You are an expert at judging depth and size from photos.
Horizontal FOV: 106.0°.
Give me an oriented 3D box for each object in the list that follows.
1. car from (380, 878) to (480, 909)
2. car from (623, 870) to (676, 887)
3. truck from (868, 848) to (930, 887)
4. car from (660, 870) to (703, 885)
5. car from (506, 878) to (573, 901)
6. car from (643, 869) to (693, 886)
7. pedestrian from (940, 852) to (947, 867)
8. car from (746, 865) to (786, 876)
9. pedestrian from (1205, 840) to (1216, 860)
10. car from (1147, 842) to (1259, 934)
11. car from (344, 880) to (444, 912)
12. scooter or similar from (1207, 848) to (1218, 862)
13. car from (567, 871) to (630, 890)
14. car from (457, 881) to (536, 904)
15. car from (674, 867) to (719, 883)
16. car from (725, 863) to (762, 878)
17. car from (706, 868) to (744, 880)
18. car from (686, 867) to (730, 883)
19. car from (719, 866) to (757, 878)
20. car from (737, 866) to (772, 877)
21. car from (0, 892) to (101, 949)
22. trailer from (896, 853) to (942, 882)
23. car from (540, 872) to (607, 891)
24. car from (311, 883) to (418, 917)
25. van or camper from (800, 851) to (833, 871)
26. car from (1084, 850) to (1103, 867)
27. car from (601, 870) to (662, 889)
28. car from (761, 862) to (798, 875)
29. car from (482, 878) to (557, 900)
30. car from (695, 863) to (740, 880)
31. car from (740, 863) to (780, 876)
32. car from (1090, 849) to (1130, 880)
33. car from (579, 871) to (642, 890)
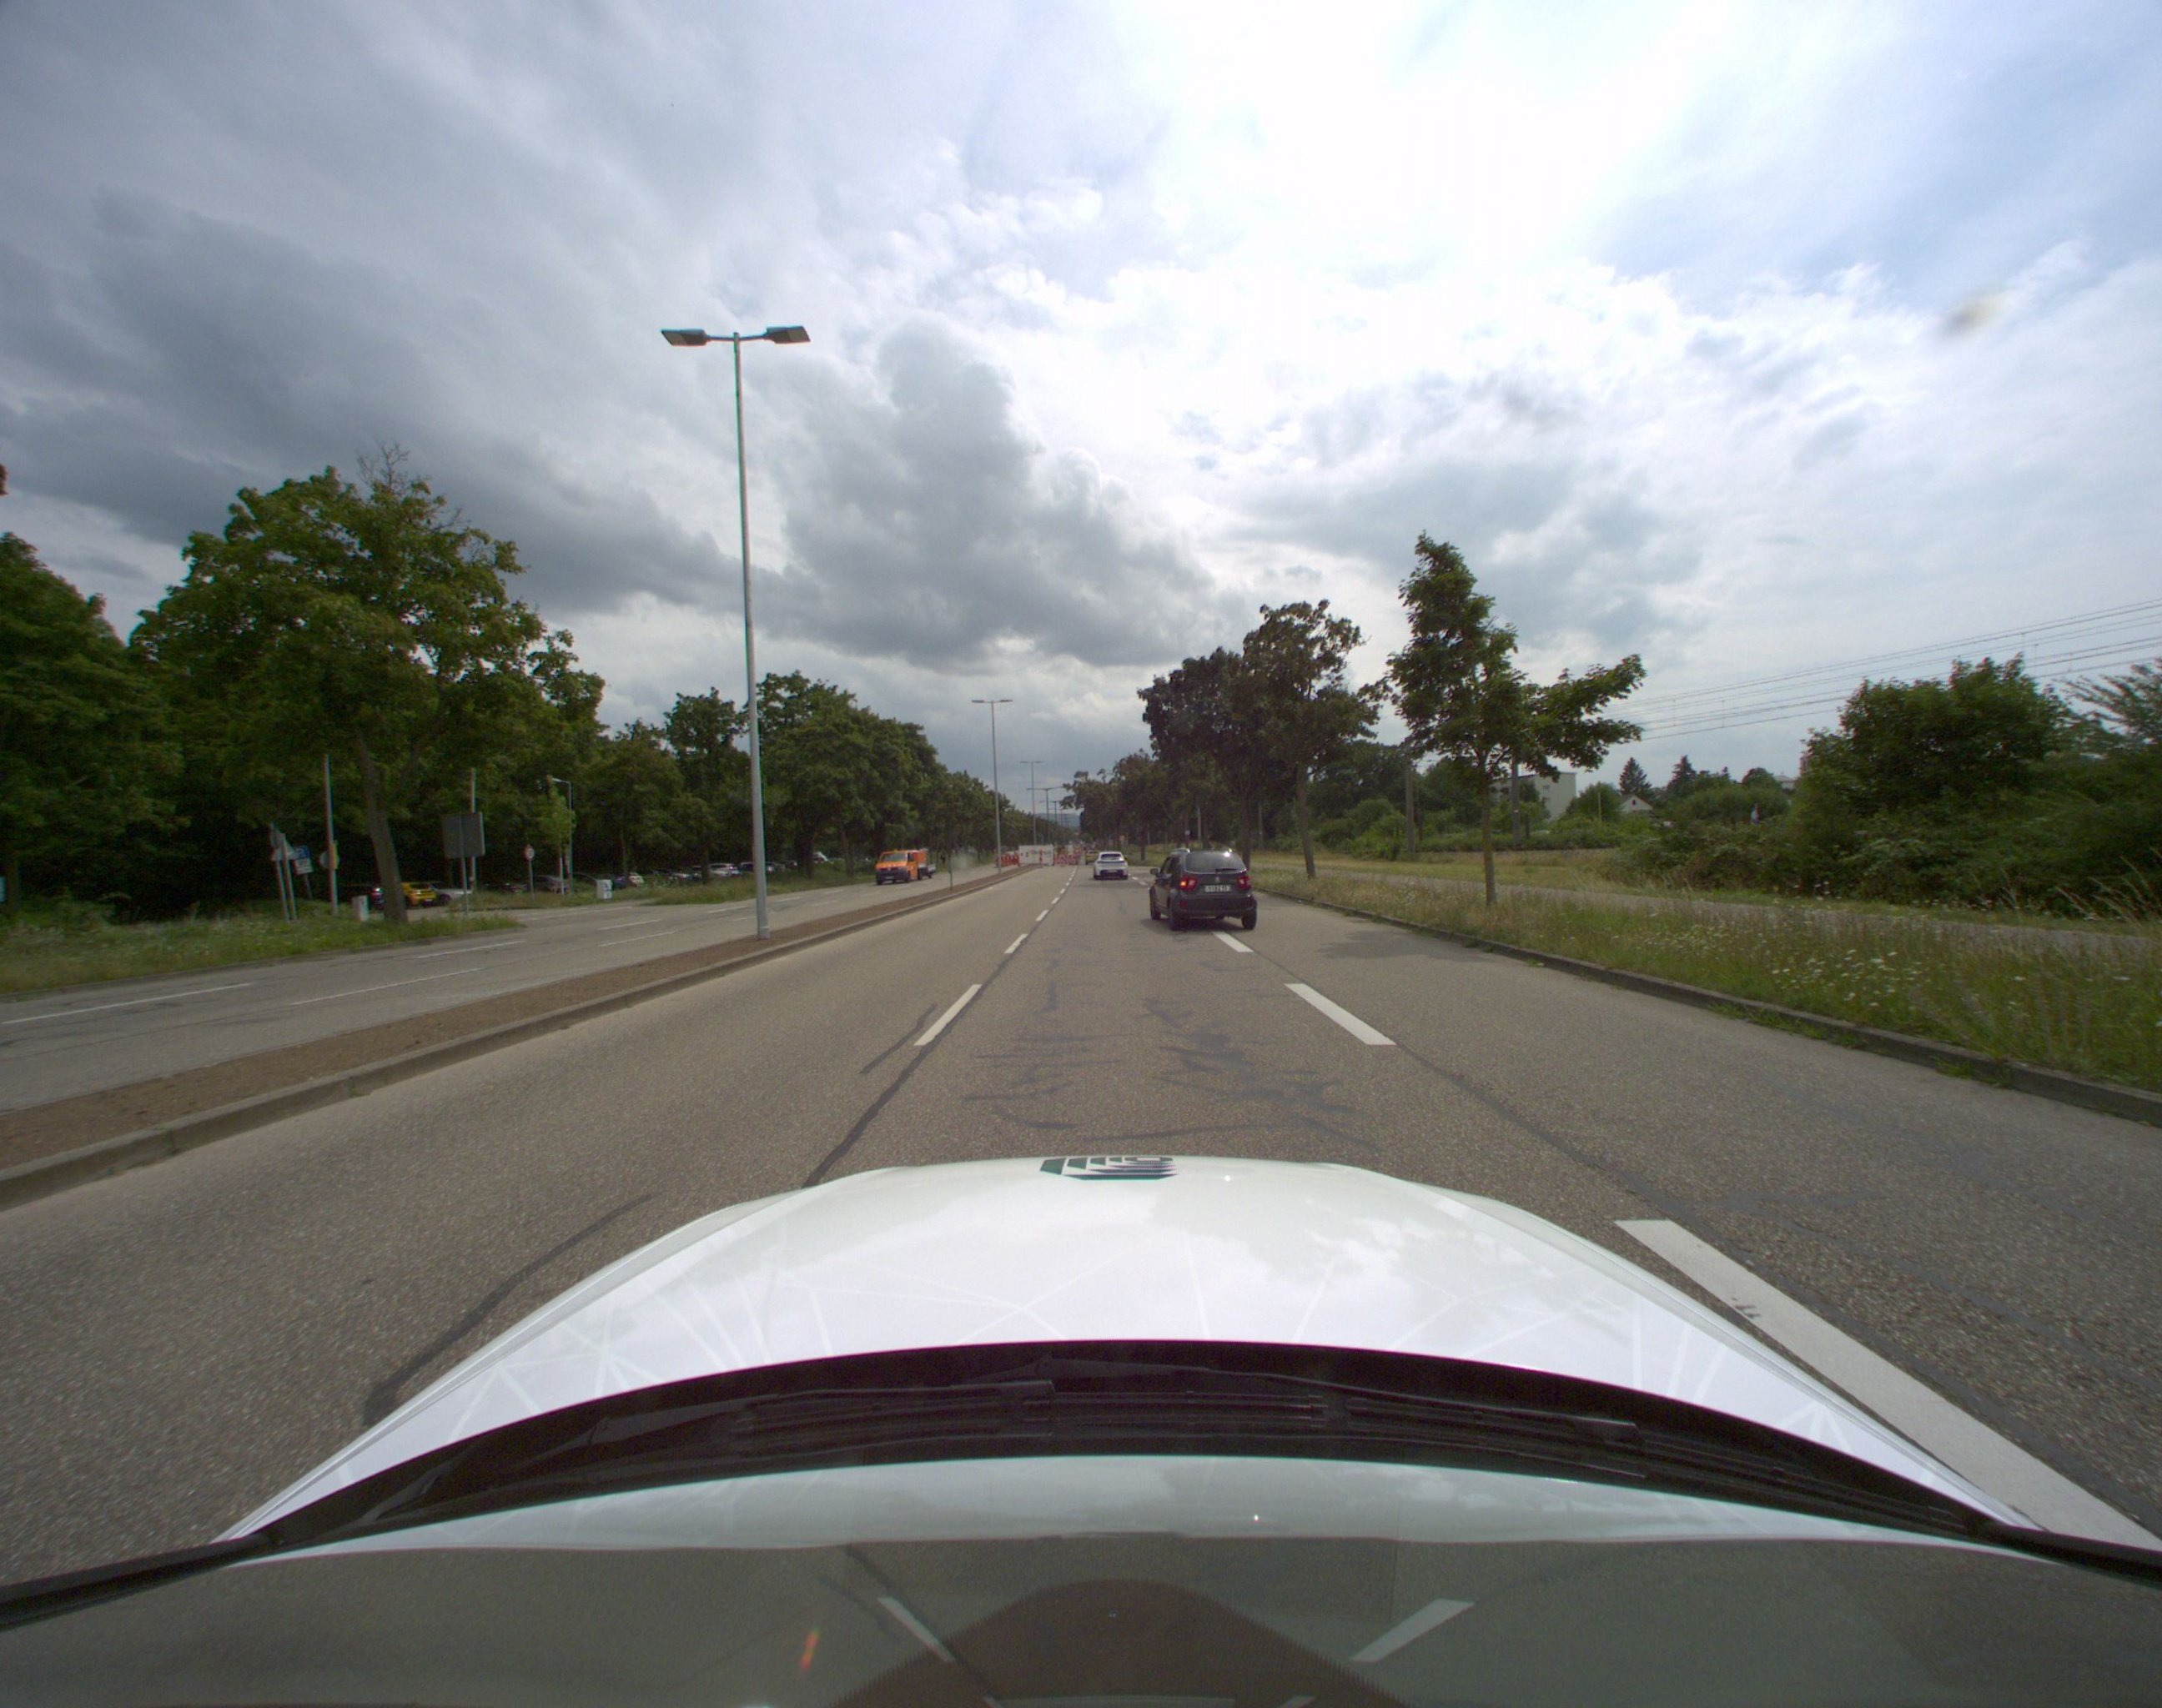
[{"bbox_3d":[-37.287,2.255,46.714,4.164,1.498,1.887,-2,1,2],"label":"car"},{"bbox_3d":[-37.543,2.127,70.897,3.630,1.360,1.710,-2,1,3],"label":"car"},{"bbox_3d":[-10.856,0.741,49.022,2.081,1.994,6.042,-3,1,2],"label":"truck"},{"bbox_3d":[-37.500,2.172,76.469,3.280,1.206,1.519,-2,1,3],"label":"car"},{"bbox_3d":[-37.877,2.465,57.035,3.634,1.411,1.519,-2,1,3],"label":"car"},{"bbox_3d":[-37.611,2.104,74.216,3.630,1.360,1.710,-2,1,3],"label":"car"},{"bbox_3d":[-16.965,0.690,100.326,0.693,1.838,0.647,-2,0,-21],"label":"pedestrian"},{"bbox_3d":[-37.535,1.977,97.087,3.973,1.161,1.927,-2,1,0],"label":"car"},{"bbox_3d":[11.027,-0.335,69.618,0.689,1.695,0.933,-2,0,-4],"label":"pedestrian"},{"bbox_3d":[2.434,0.612,17.122,1.698,1.668,3.999,-2,0,0],"label":"car"},{"bbox_3d":[-37.517,2.288,44.528,3.971,1.498,1.786,-2,1,2],"label":"car"},{"bbox_3d":[11.104,0.108,68.682,0.680,1.130,0.933,-2,1,-4],"label":"scooter or similar"},{"bbox_3d":[-38.005,2.078,64.213,3.970,1.360,1.668,-2,1,3],"label":"car"},{"bbox_3d":[-37.116,2.424,51.745,3.694,1.257,1.786,-2,1,2],"label":"car"},{"bbox_3d":[-37.525,2.038,79.449,3.634,1.411,1.519,-2,1,3],"label":"car"},{"bbox_3d":[-37.314,1.812,90.096,3.535,1.411,1.323,-2,1,3],"label":"car"},{"bbox_3d":[-37.821,2.112,86.481,3.354,1.112,1.442,-2,1,2],"label":"car"},{"bbox_3d":[-37.483,2.073,81.884,3.634,1.411,1.519,-2,1,3],"label":"car"},{"bbox_3d":[-37.109,1.941,88.125,3.354,1.128,1.442,-2,1,2],"label":"car"},{"bbox_3d":[-36.798,1.934,91.902,3.354,1.094,1.442,-2,1,2],"label":"car"},{"bbox_3d":[-36.366,2.268,27.520,3.973,1.713,2.046,-2,1,1],"label":"car"},{"bbox_3d":[-10.657,0.862,53.882,2.054,1.689,3.897,-3,0,2],"label":"trailer"},{"bbox_3d":[-38.011,2.062,61.020,3.969,1.238,1.669,-2,1,4],"label":"car"},{"bbox_3d":[-37.464,2.388,42.640,3.971,1.498,1.786,-2,1,2],"label":"car"},{"bbox_3d":[-38.030,0.996,117.190,3.973,2.756,1.927,-2,1,0],"label":"van or camper"},{"bbox_3d":[1.305,0.426,82.392,1.786,1.562,4.003,-2,1,2],"label":"car"},{"bbox_3d":[-37.849,2.129,68.653,3.967,1.410,2.003,-2,1,5],"label":"car"},{"bbox_3d":[-37.280,1.789,100.647,3.757,1.425,1.968,-2,1,3],"label":"car"},{"bbox_3d":[-38.173,2.383,55.371,3.972,1.259,1.564,-2,1,1],"label":"car"},{"bbox_3d":[-37.664,1.805,84.427,3.634,1.519,1.884,-2,1,3],"label":"car"},{"bbox_3d":[-37.291,1.808,94.688,3.716,1.409,2.001,-2,1,1],"label":"car"},{"bbox_3d":[1.504,0.532,43.034,1.762,1.464,3.997,-2,1,-2],"label":"car"},{"bbox_3d":[-38.344,2.148,66.436,3.970,1.360,1.824,-2,1,3],"label":"car"}]
